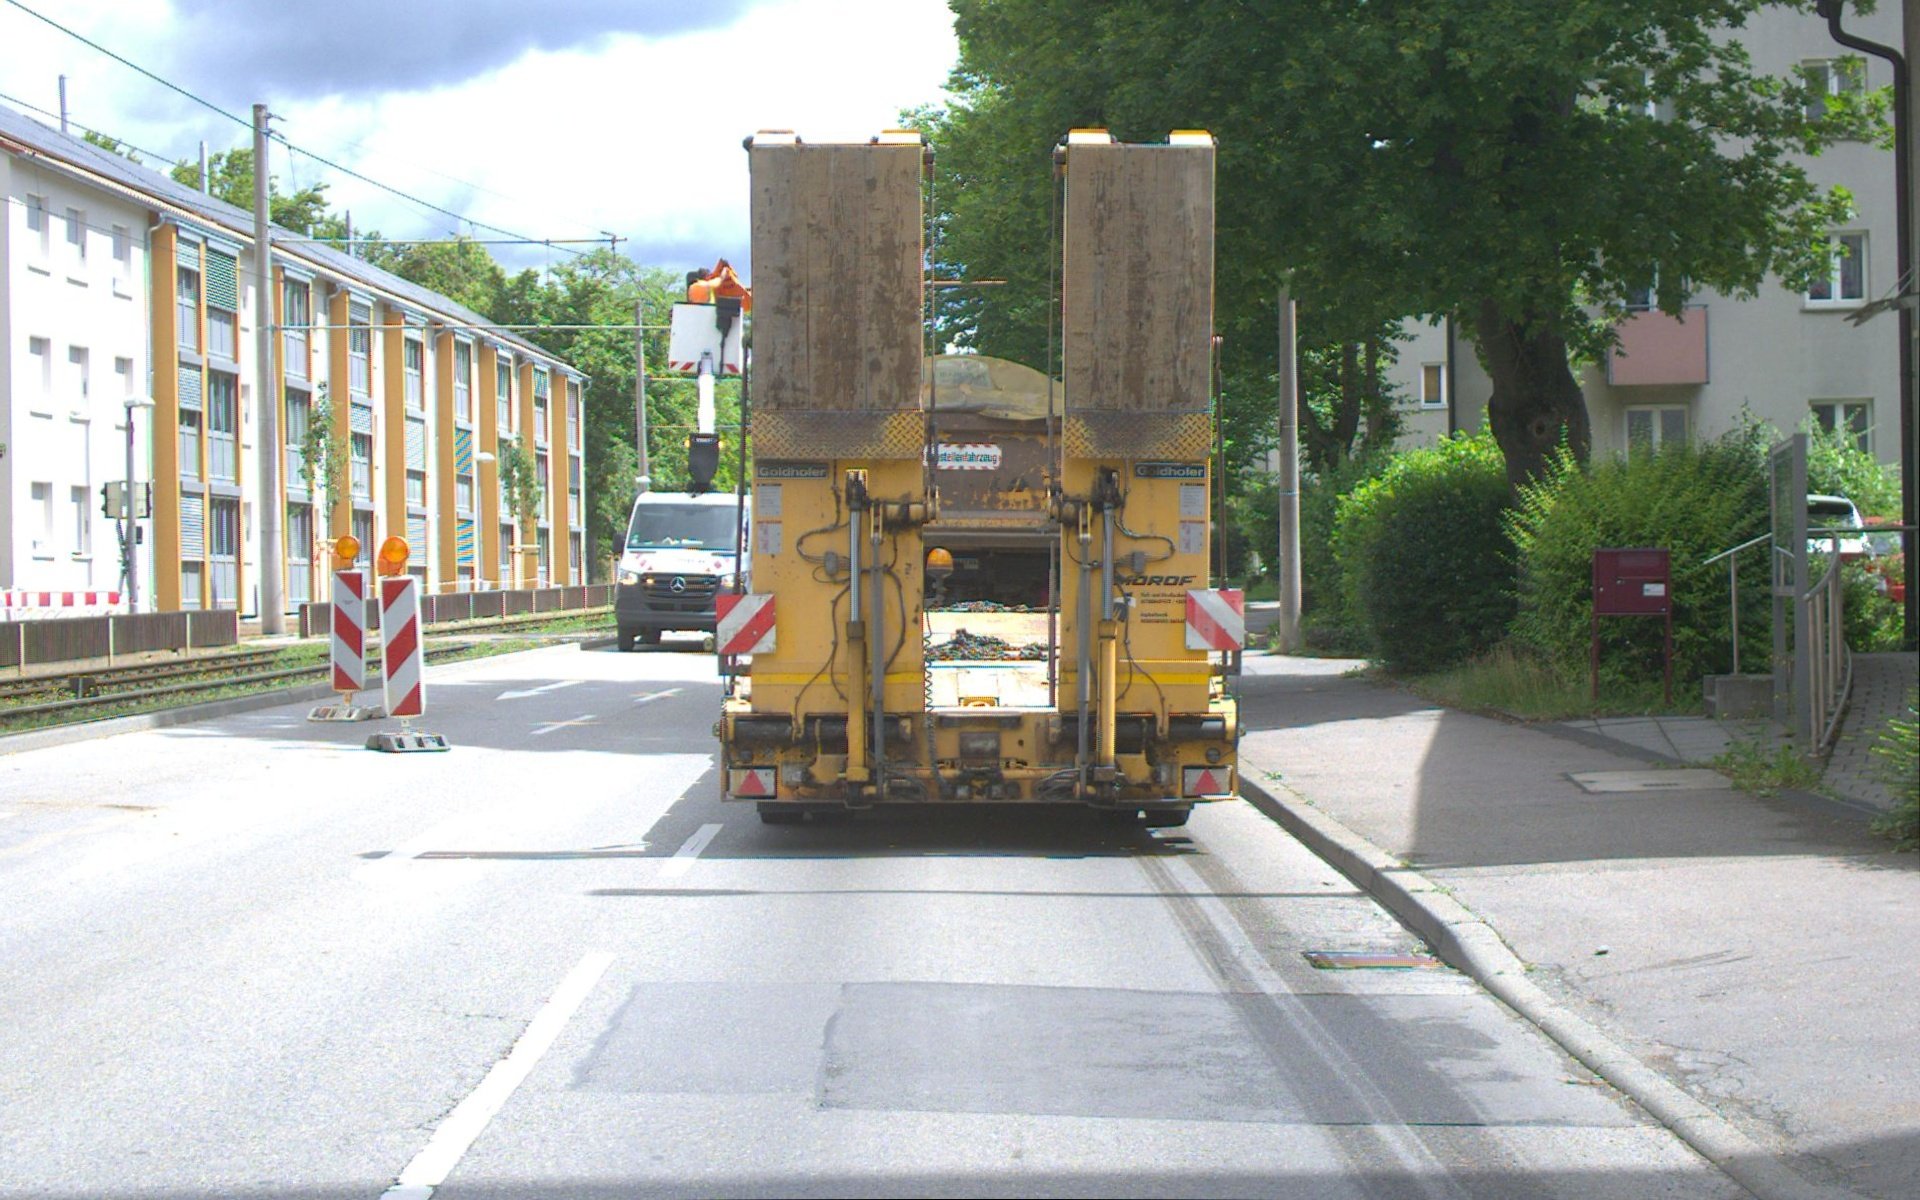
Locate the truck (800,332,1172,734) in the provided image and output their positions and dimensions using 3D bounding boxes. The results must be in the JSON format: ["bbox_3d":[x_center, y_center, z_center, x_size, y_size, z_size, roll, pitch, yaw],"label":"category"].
[{"bbox_3d":[0.231,-0.586,31.307,2.917,3.156,7.680,1,1,0],"label":"truck"}]

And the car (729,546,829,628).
[{"bbox_3d":[-3.530,-0.260,67.565,1.718,1.547,3.917,1,1,0],"label":"car"}]

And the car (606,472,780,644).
[{"bbox_3d":[-3.953,-0.636,51.927,1.993,2.422,6.322,0,1,1],"label":"car"}]

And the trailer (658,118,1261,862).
[{"bbox_3d":[0.070,-0.595,21.961,2.823,3.512,11.052,1,1,1],"label":"trailer"}]

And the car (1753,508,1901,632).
[{"bbox_3d":[11.075,-0.401,44.103,1.664,1.475,3.690,-2,1,12],"label":"car"}]

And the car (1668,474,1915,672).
[{"bbox_3d":[7.537,-0.246,31.466,1.812,1.644,3.999,-2,0,9],"label":"car"}]
